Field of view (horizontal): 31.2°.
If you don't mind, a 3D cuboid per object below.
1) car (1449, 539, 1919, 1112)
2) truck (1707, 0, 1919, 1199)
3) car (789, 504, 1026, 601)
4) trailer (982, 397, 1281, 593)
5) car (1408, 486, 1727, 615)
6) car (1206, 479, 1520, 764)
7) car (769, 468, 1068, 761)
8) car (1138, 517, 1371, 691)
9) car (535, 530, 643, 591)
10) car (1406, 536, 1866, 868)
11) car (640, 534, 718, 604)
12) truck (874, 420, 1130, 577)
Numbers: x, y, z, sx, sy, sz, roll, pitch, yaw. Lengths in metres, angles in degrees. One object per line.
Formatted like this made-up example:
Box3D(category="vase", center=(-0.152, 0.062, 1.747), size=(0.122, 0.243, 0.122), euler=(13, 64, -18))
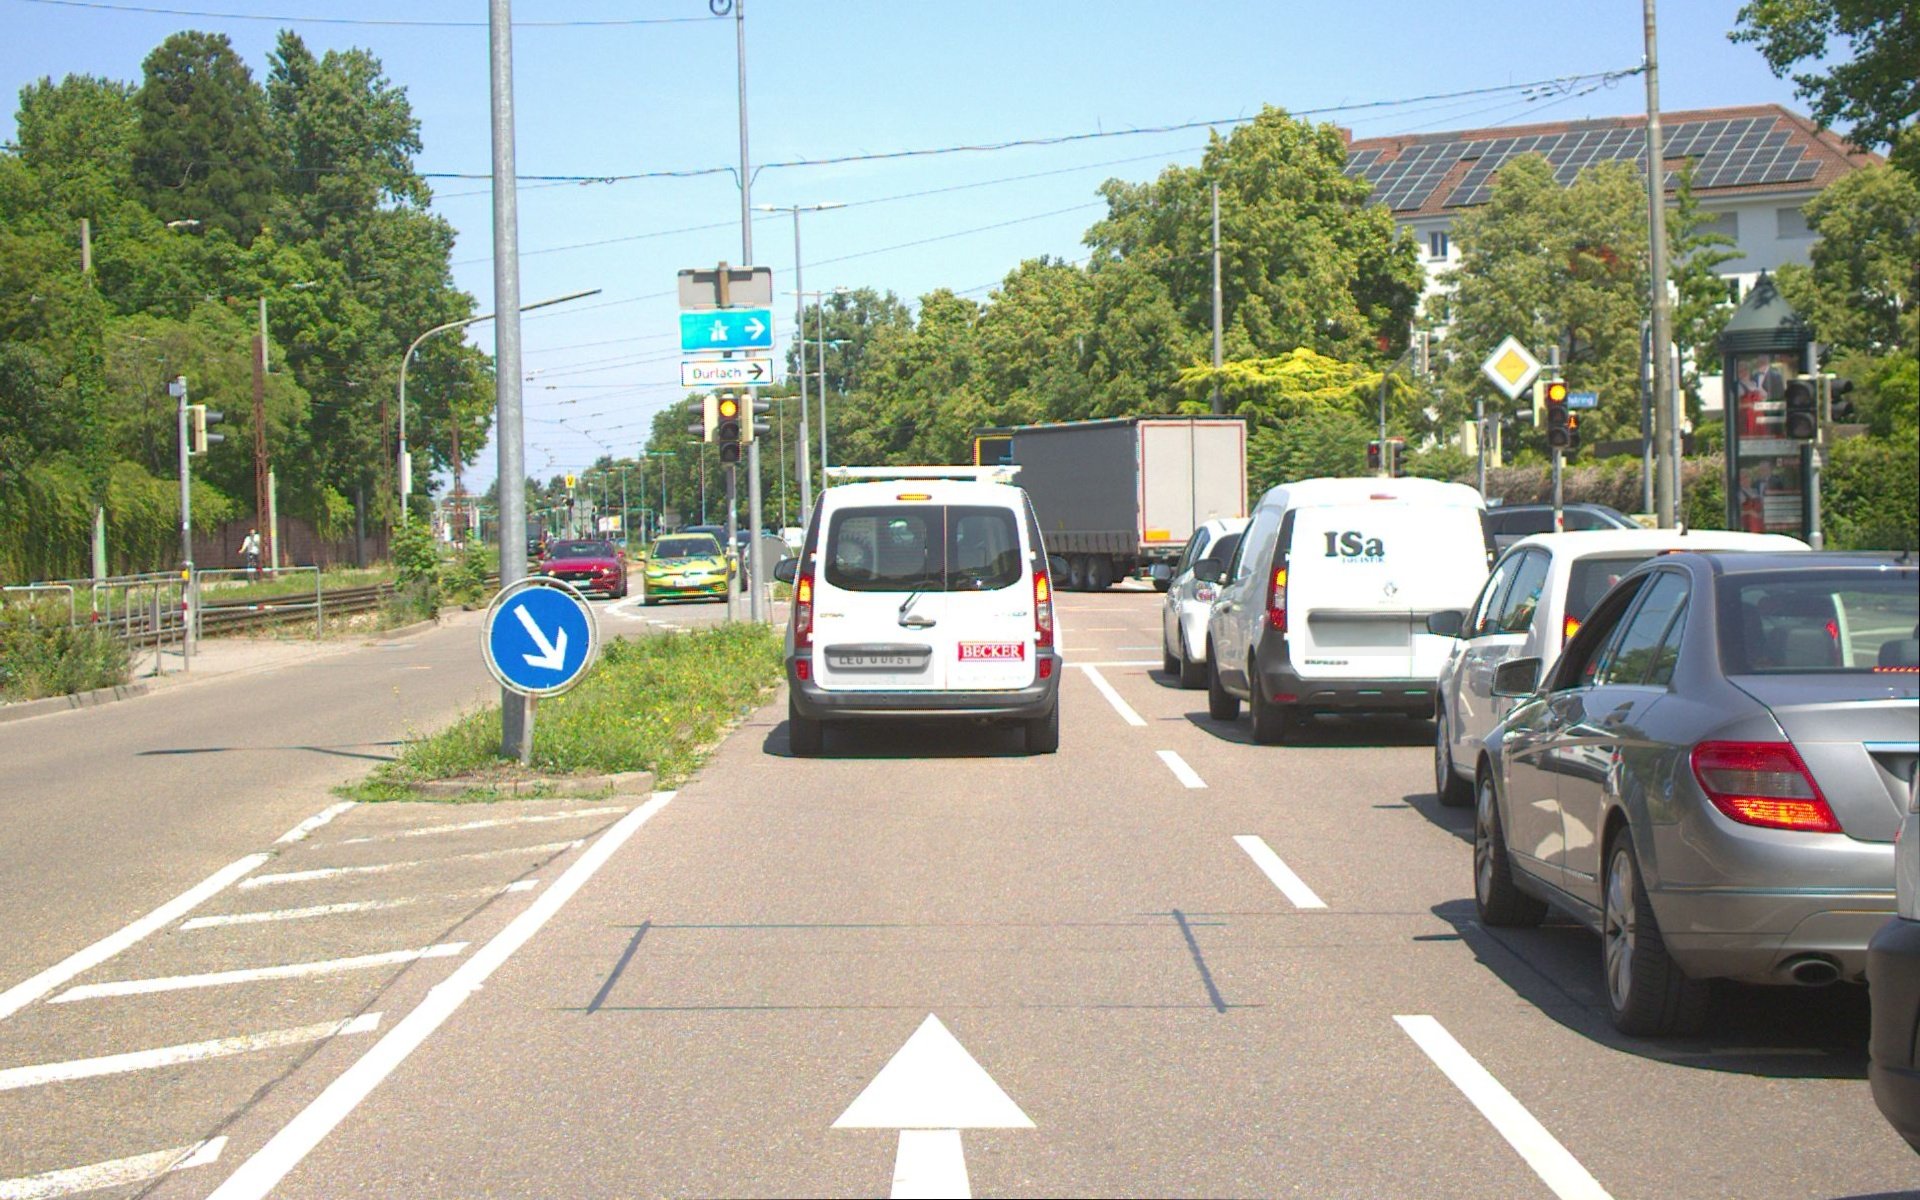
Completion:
Box3D(category="car", center=(2.792, 0.550, 11.163), size=(1.795, 1.444, 4.418), euler=(-1, 1, 1))
Box3D(category="truck", center=(3.985, -0.316, 3.561), size=(2.419, 3.380, 7.836), euler=(-2, 1, -20))
Box3D(category="car", center=(-0.964, -0.835, 60.309), size=(1.994, 1.612, 4.455), euler=(-2, 2, -34))
Box3D(category="trailer", center=(3.653, -2.288, 76.305), size=(3.527, 4.036, 8.980), euler=(-2, 1, -19))
Box3D(category="car", center=(9.144, -0.742, 51.654), size=(4.528, 1.823, 1.999), euler=(-1, 1, 15))
Box3D(category="car", center=(2.748, 0.093, 24.229), size=(1.710, 1.824, 4.014), euler=(1, 1, 0))
Box3D(category="car", center=(-0.297, 0.046, 23.408), size=(1.866, 1.829, 3.849), euler=(0, 1, -1))
Box3D(category="car", center=(2.673, -0.012, 31.994), size=(1.756, 1.481, 4.000), euler=(-1, 1, -1))
Box3D(category="car", center=(-8.704, -0.949, 80.975), size=(1.984, 1.354, 4.538), euler=(-1, 1, 1))
Box3D(category="car", center=(3.251, 0.423, 17.134), size=(1.607, 1.446, 3.521), euler=(1, 1, 0))
Box3D(category="car", center=(-5.831, -0.667, 71.262), size=(1.538, 1.374, 4.003), euler=(-1, 1, -5))
Box3D(category="truck", center=(0.908, -2.456, 84.840), size=(3.575, 3.620, 8.811), euler=(-2, 1, -18))
